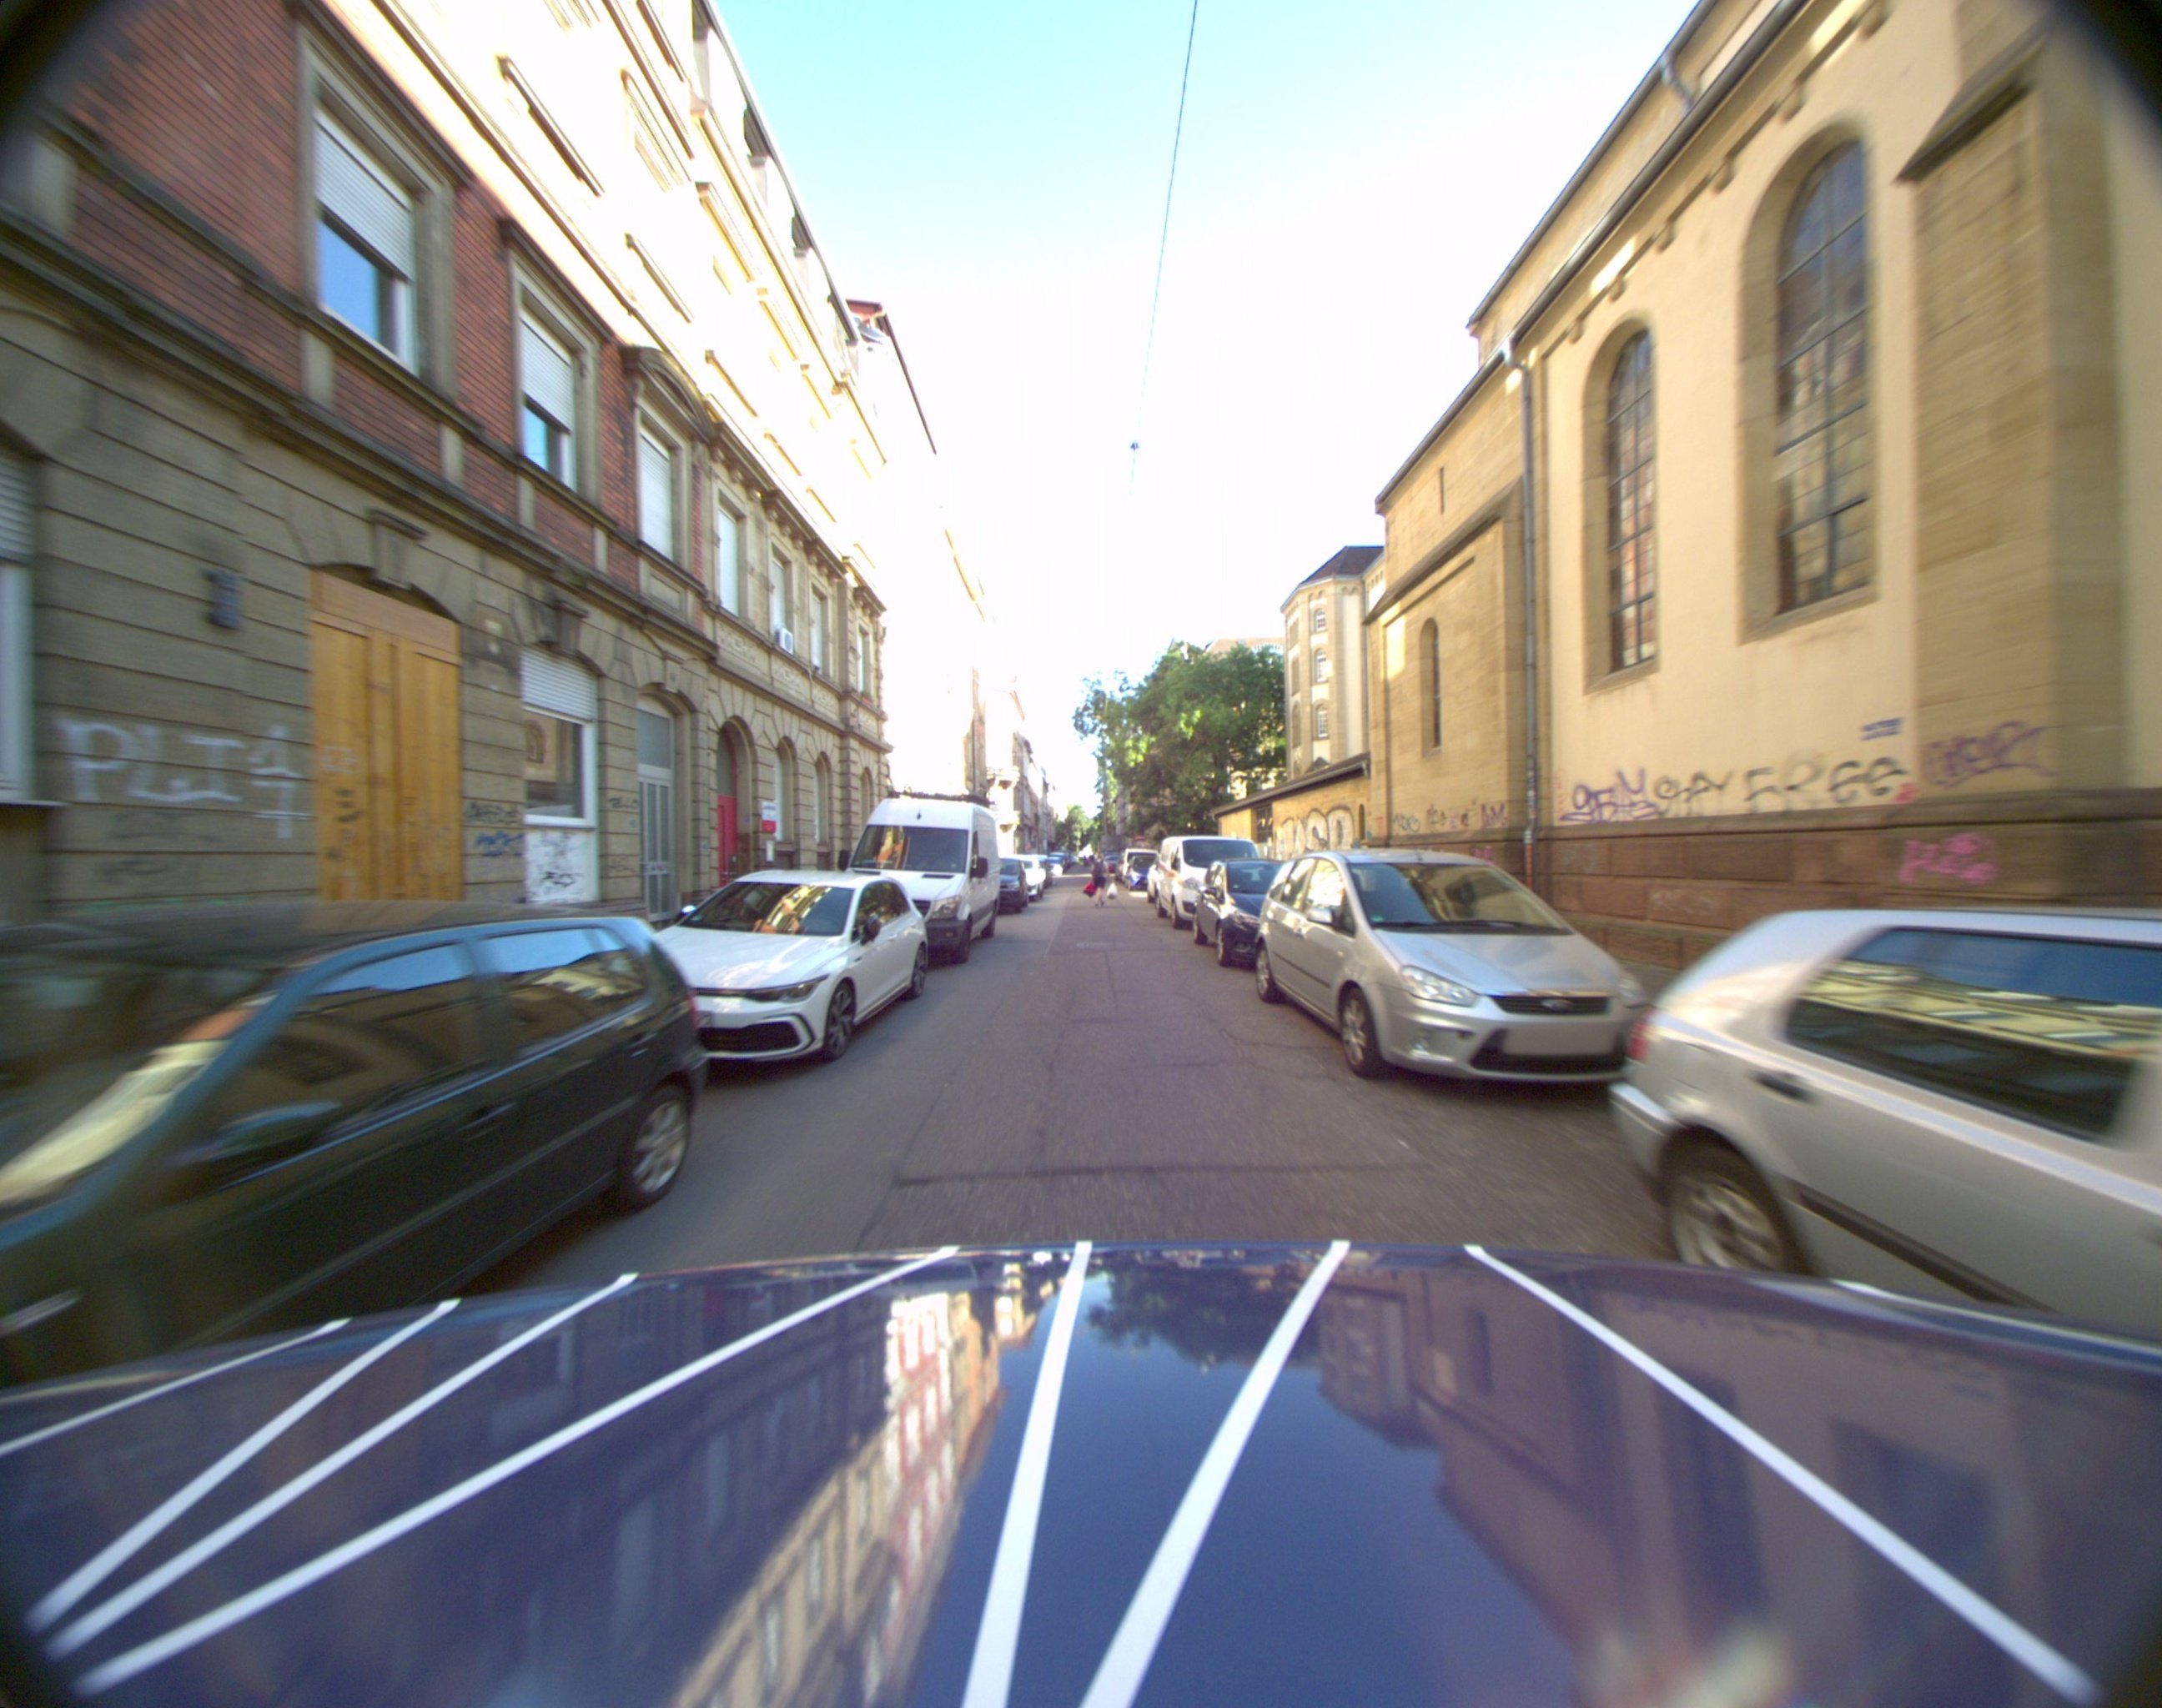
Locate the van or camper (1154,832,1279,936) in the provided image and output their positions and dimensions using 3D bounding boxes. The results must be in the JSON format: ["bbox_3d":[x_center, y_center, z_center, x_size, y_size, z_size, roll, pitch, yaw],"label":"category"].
[{"bbox_3d":[2.826,0.570,16.898,1.984,1.940,4.563,-1,0,1],"label":"van or camper"}]

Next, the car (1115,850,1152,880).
[{"bbox_3d":[3.002,0.599,44.293,1.777,1.614,4.022,-1,0,-1],"label":"car"}]

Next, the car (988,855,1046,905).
[{"bbox_3d":[-2.256,0.891,27.763,1.696,1.615,3.963,-1,0,1],"label":"car"}]

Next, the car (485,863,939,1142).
[{"bbox_3d":[-2.831,1.004,7.247,1.998,1.637,4.563,-2,1,1],"label":"car"}]

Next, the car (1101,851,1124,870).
[{"bbox_3d":[2.784,0.557,67.451,1.777,1.614,4.022,-1,0,-1],"label":"car"}]

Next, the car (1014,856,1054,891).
[{"bbox_3d":[-2.339,0.930,38.651,1.696,1.615,3.963,-1,0,1],"label":"car"}]

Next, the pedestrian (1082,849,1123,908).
[{"bbox_3d":[0.642,0.728,22.712,0.827,1.703,0.876,-3,1,31],"label":"pedestrian"}]

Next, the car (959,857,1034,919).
[{"bbox_3d":[-2.400,0.926,22.353,1.696,1.615,3.813,-1,0,1],"label":"car"}]

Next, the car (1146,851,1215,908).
[{"bbox_3d":[2.963,0.719,23.223,1.653,1.557,3.640,-1,0,1],"label":"car"}]

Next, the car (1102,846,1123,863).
[{"bbox_3d":[3.015,0.042,73.733,1.777,1.614,4.022,-1,0,-1],"label":"car"}]

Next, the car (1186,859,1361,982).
[{"bbox_3d":[2.671,0.846,11.392,1.696,1.472,3.736,-1,0,1],"label":"car"}]

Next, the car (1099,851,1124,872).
[{"bbox_3d":[2.482,0.590,62.797,1.777,1.614,4.022,-1,0,-1],"label":"car"}]

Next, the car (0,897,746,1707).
[{"bbox_3d":[-2.741,1.029,2.213,1.590,1.478,3.912,-2,1,3],"label":"car"}]

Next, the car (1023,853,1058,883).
[{"bbox_3d":[-2.290,0.777,43.815,1.696,1.615,3.963,-1,0,1],"label":"car"}]

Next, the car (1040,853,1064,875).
[{"bbox_3d":[-2.290,0.768,61.074,1.696,1.615,3.963,-1,0,1],"label":"car"}]

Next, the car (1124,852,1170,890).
[{"bbox_3d":[2.839,0.712,33.405,1.696,1.529,3.813,-1,0,1],"label":"car"}]

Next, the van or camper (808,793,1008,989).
[{"bbox_3d":[-2.646,0.463,13.381,1.998,2.617,5.978,-2,1,1],"label":"van or camper"}]

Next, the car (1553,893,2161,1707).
[{"bbox_3d":[2.699,0.896,1.062,1.576,1.356,4.146,-2,1,2],"label":"car"}]

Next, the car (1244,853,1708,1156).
[{"bbox_3d":[2.593,0.830,6.162,1.724,1.558,4.000,-2,1,1],"label":"car"}]

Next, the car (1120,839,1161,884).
[{"bbox_3d":[2.978,0.342,38.813,1.777,2.128,4.022,-1,0,1],"label":"car"}]

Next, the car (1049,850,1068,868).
[{"bbox_3d":[-2.245,0.467,75.521,1.696,1.705,3.963,-1,0,1],"label":"car"}]
